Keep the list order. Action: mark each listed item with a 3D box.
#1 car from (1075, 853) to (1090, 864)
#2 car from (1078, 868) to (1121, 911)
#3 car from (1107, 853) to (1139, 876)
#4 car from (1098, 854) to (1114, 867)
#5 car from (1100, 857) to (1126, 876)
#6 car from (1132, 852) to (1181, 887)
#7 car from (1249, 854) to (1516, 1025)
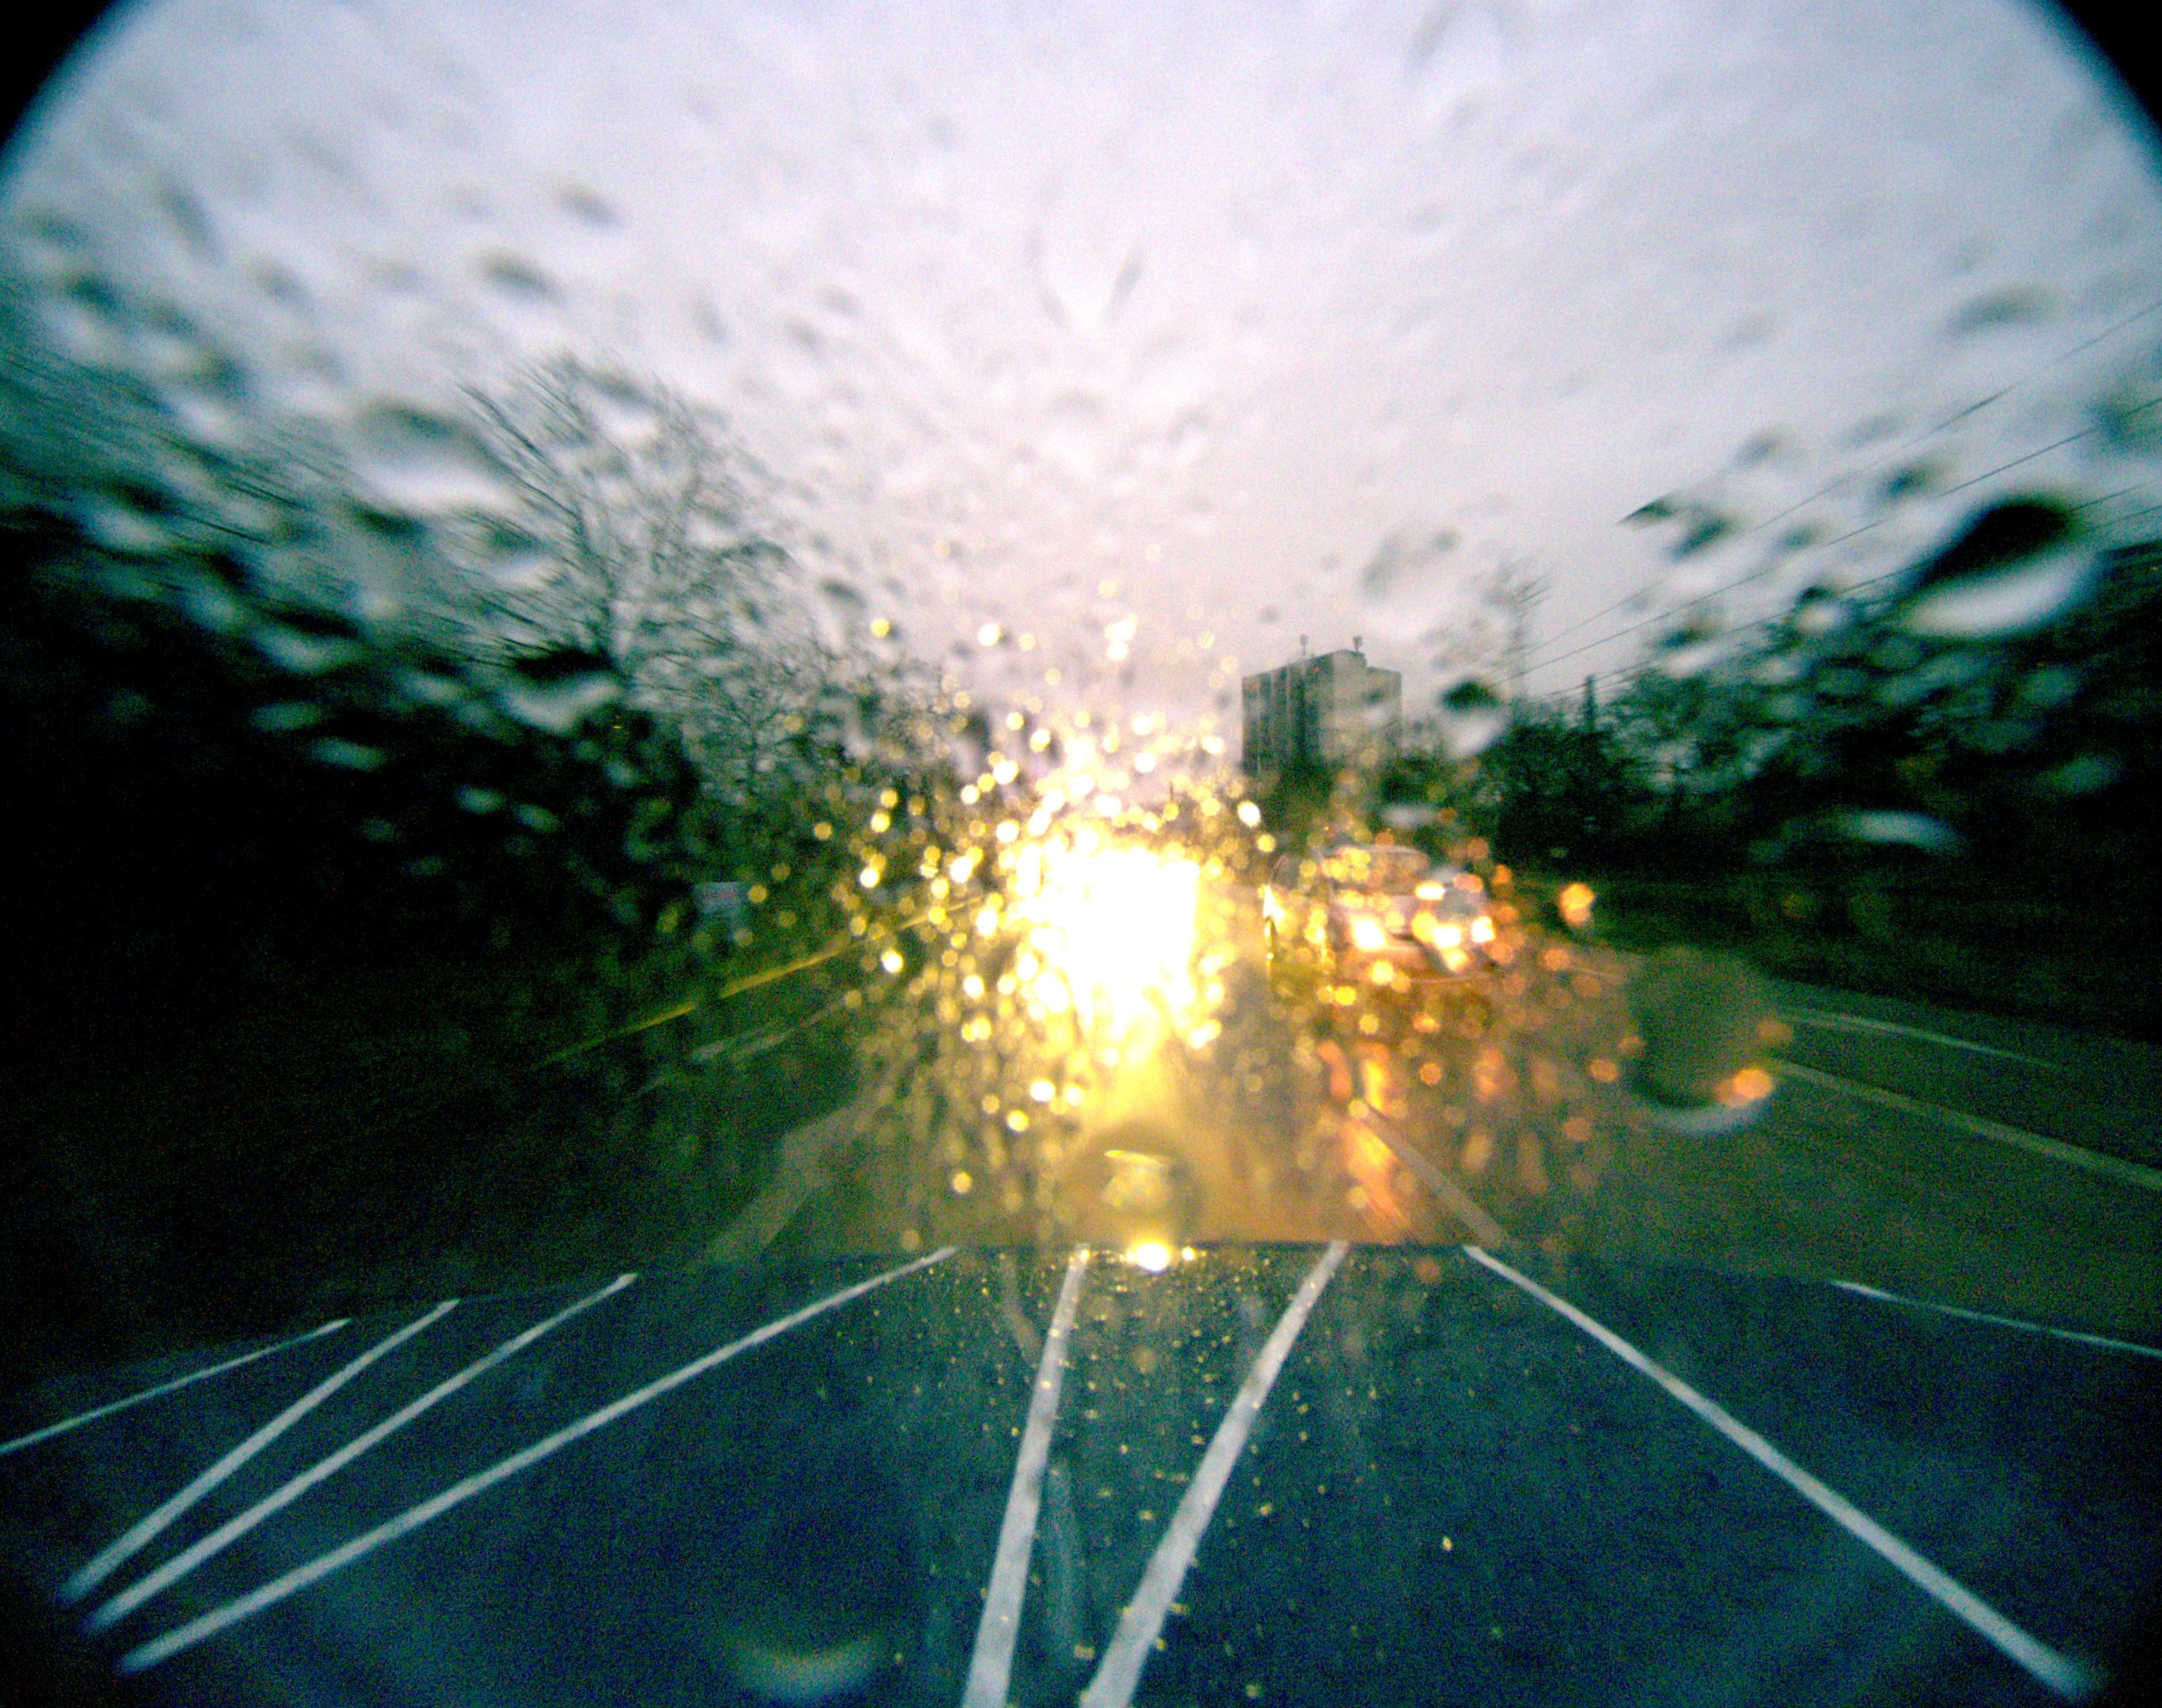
[{"bbox_3d":[0.209,0.675,110.941,1.953,1.590,4.123,-1,0,-2],"label":"car"},{"bbox_3d":[0.748,1.427,32.045,1.679,1.590,4.045,-1,0,1],"label":"car"},{"bbox_3d":[2.955,0.711,53.877,1.953,1.590,4.124,-1,0,-1],"label":"car"},{"bbox_3d":[3.282,0.847,101.739,1.998,1.605,3.999,-2,1,0],"label":"car"},{"bbox_3d":[3.097,1.215,73.428,1.999,1.652,3.998,-2,1,-4],"label":"car"},{"bbox_3d":[3.655,0.700,37.320,1.953,1.590,4.124,-1,0,-1],"label":"car"},{"bbox_3d":[3.243,0.795,9.116,1.693,1.530,4.191,-2,0,3],"label":"car"}]
